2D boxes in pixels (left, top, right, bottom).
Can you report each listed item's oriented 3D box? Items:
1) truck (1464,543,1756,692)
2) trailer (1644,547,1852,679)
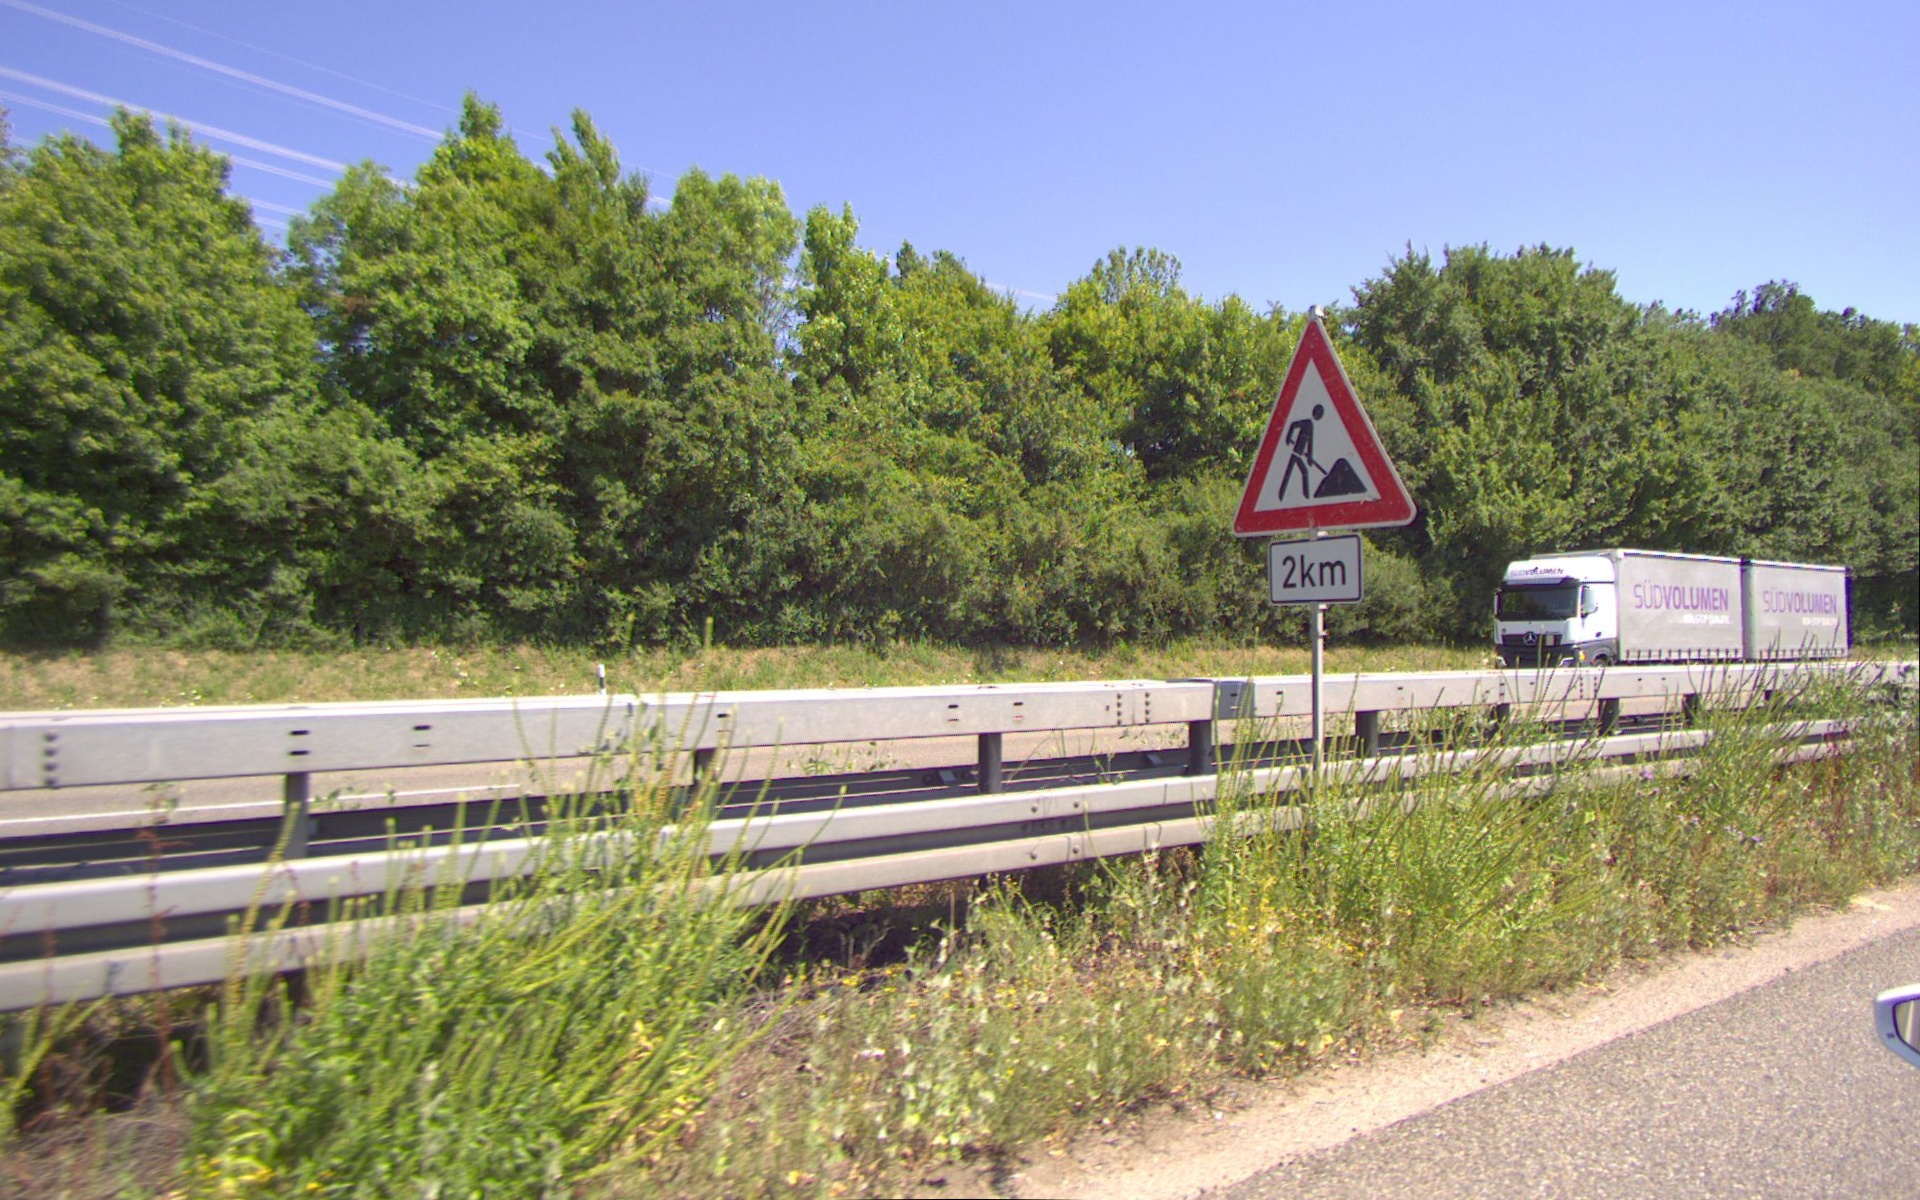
[{"bbox_3d":[20.765,0.627,31.758,10.999,4.047,3.435,1,-2,-32],"label":"truck"},{"bbox_3d":[28.828,0.508,36.680,7.881,4.336,3.435,2,0,-32],"label":"trailer"}]
